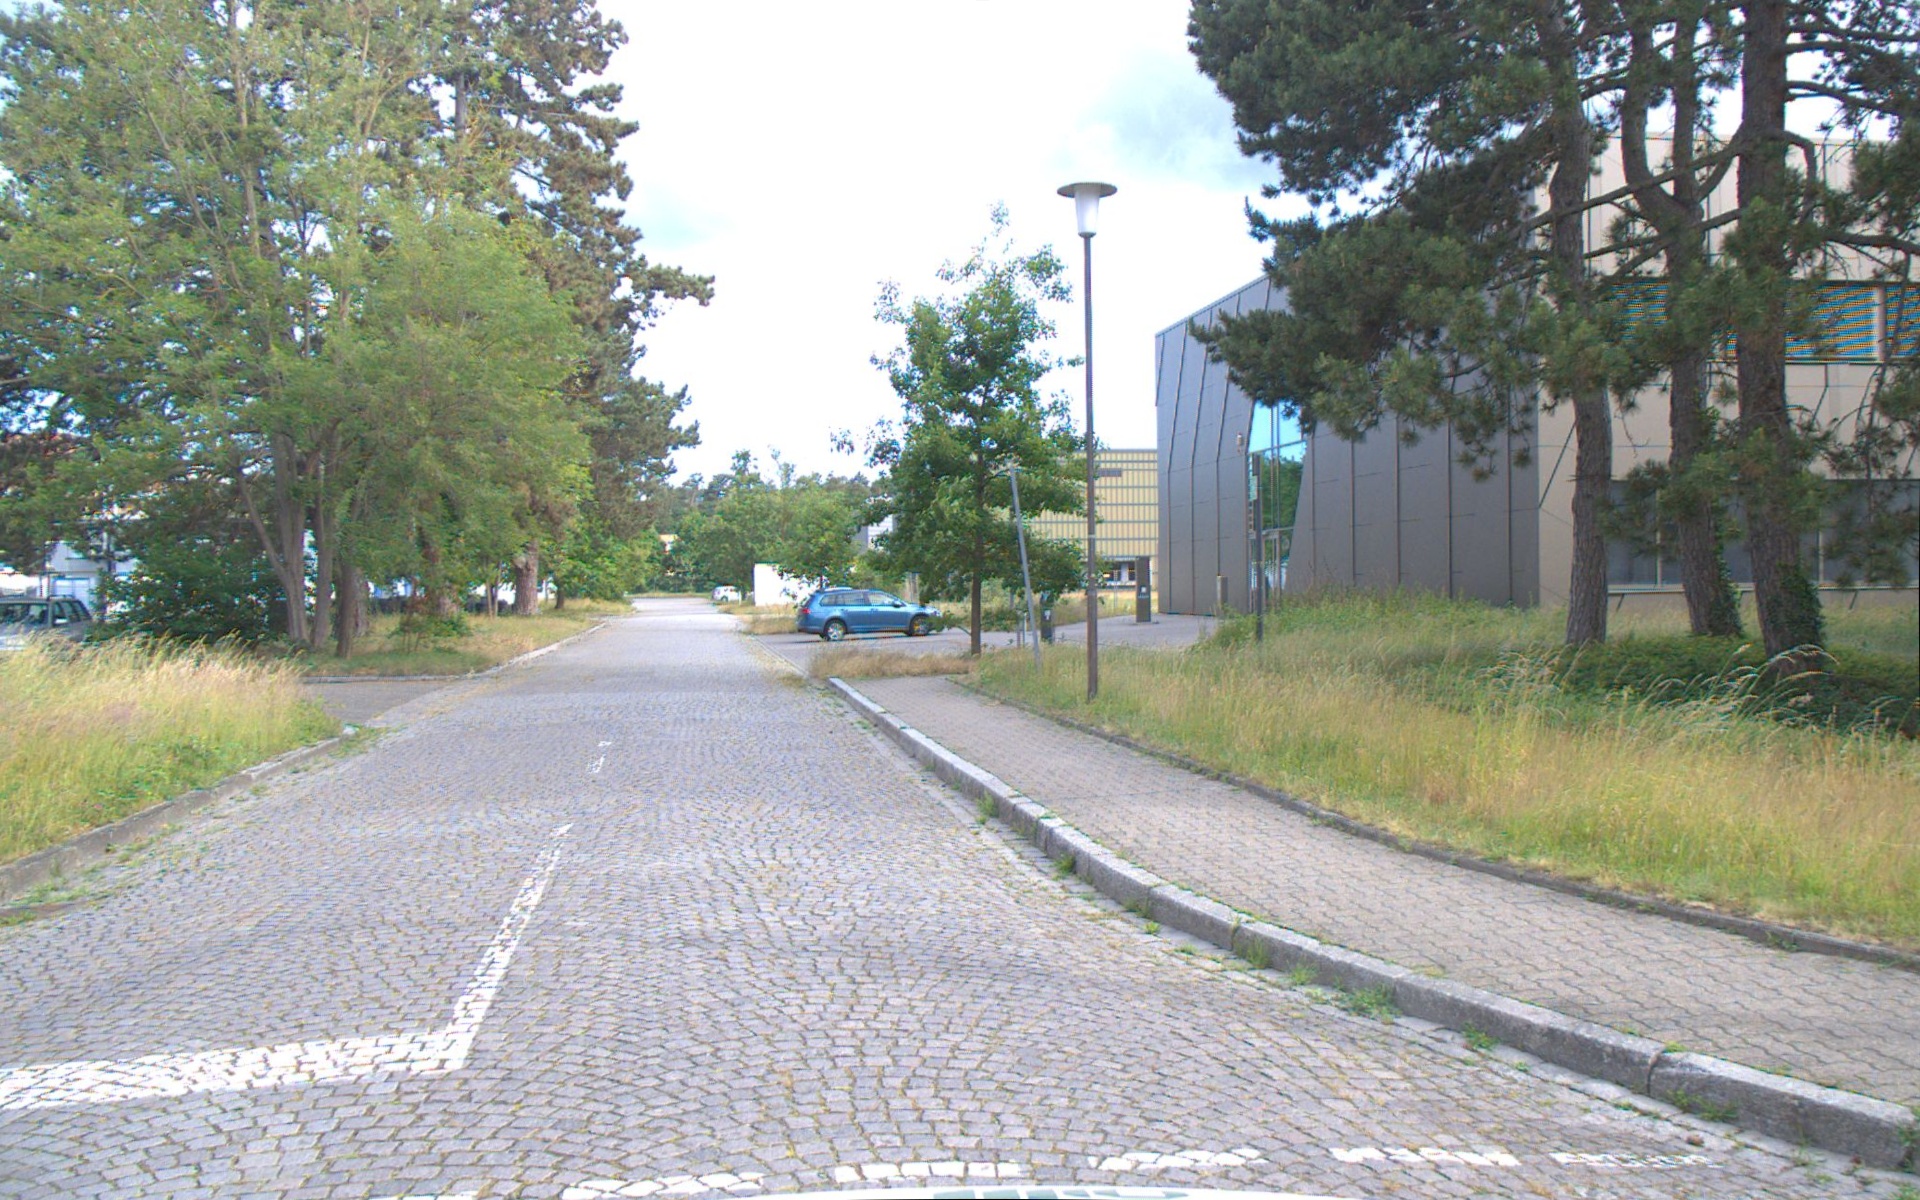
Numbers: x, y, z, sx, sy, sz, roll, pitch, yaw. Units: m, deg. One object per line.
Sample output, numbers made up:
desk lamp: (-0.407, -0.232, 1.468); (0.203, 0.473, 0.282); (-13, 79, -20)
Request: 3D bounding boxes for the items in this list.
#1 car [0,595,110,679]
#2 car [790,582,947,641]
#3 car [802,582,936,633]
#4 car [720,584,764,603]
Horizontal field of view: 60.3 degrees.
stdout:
car: (-18.274, 0.682, 32.275); (1.885, 1.502, 4.356); (-1, 1, -12)
car: (-2.793, 0.324, 50.015); (4.440, 1.558, 1.993); (-3, 1, -13)
car: (-3.188, 0.248, 57.406); (4.435, 1.558, 1.996); (-3, 1, -9)
car: (-21.453, -0.668, 162.794); (4.274, 1.811, 1.922); (-1, 0, -9)
